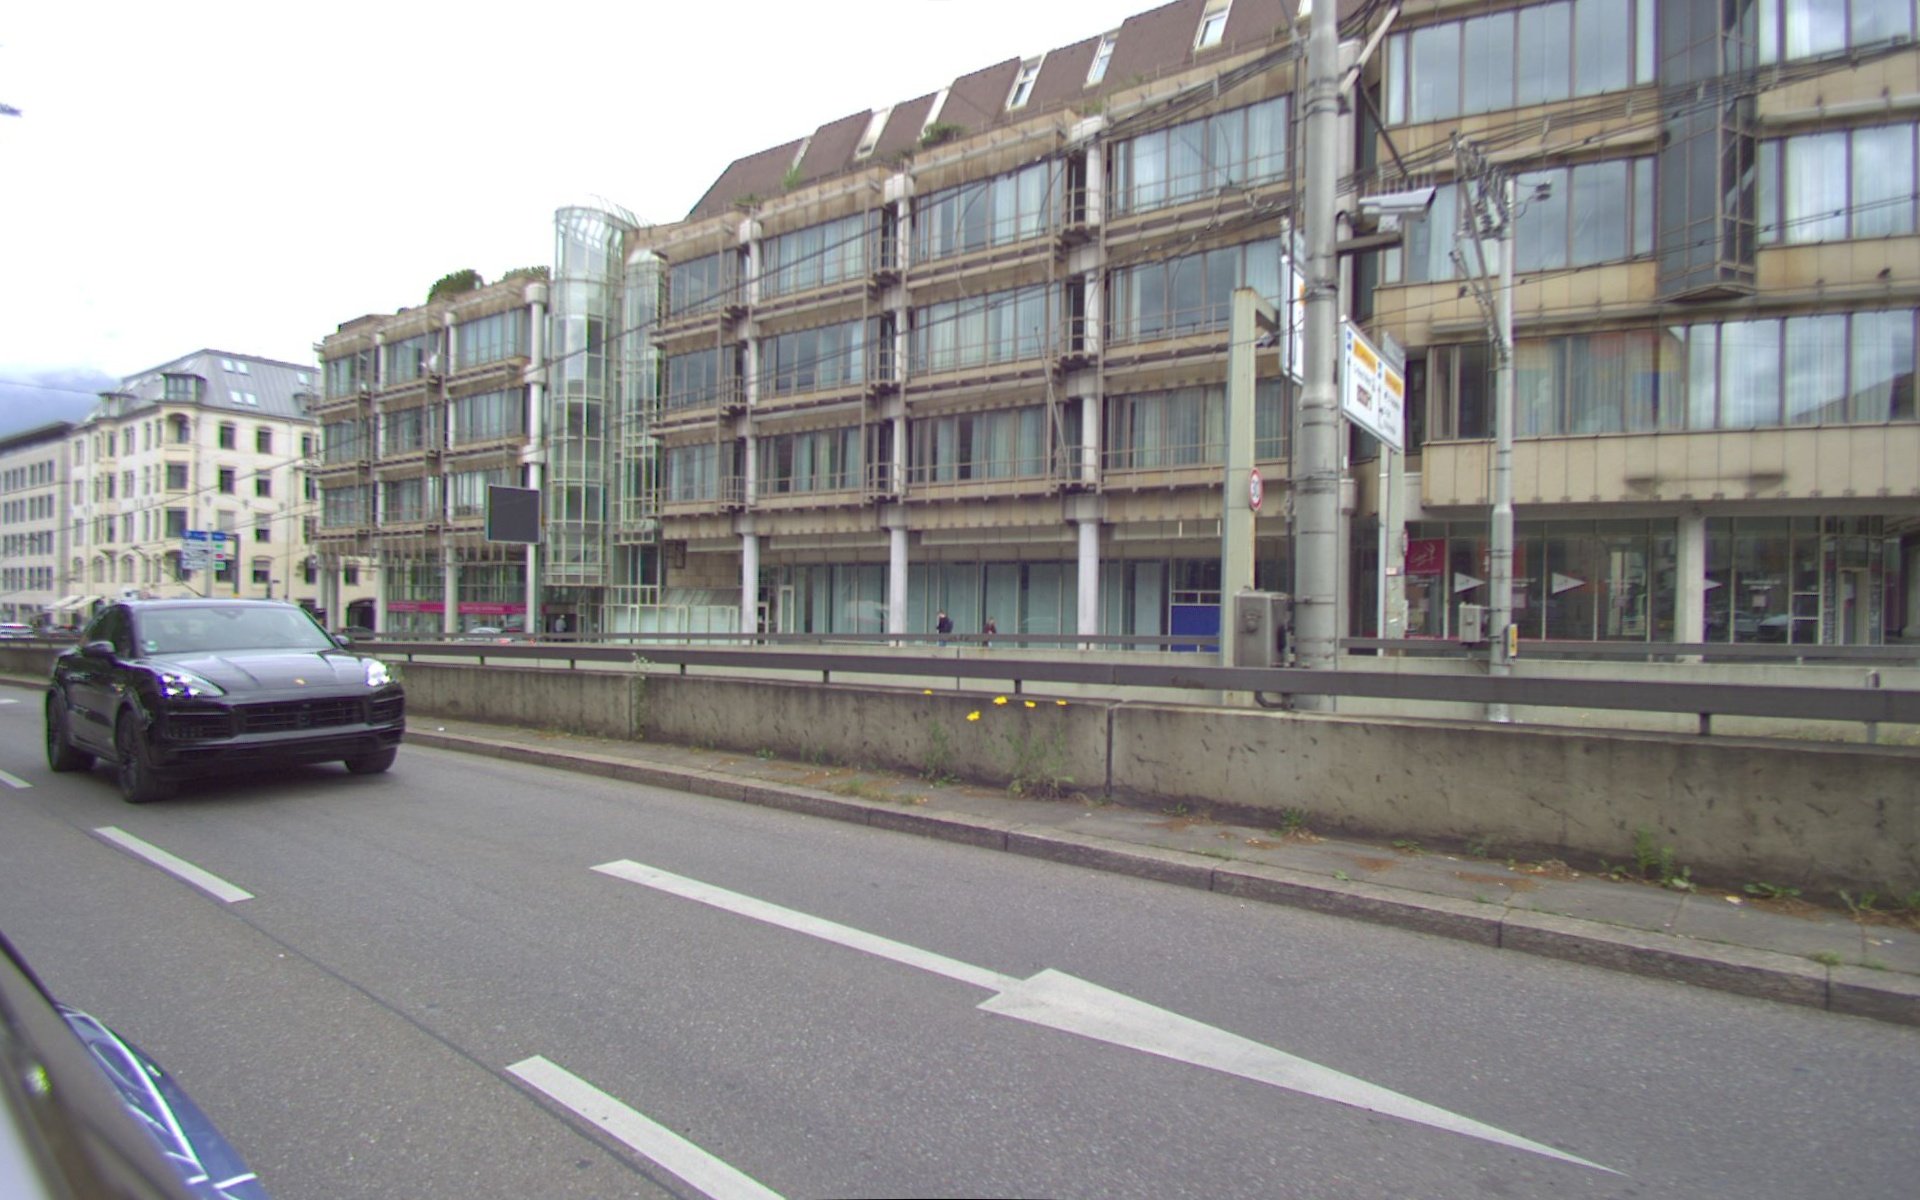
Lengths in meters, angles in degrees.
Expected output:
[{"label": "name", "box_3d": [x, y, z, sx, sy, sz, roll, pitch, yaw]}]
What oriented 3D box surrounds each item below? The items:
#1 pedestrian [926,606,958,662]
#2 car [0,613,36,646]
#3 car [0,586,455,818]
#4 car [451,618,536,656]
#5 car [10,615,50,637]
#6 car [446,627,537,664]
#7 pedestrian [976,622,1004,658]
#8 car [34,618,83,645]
[{"label": "pedestrian", "box_3d": [-0.607, 1.138, 34.219, 0.738, 1.825, 0.724, -1, 0, 36]}, {"label": "car", "box_3d": [-59.828, 1.838, 63.463, 4.596, 1.855, 1.818, -1, 3, 36]}, {"label": "car", "box_3d": [-7.281, 0.784, 9.755, 5.340, 1.687, 2.065, -1, 0, 36]}, {"label": "car", "box_3d": [-19.884, 1.556, 43.071, 4.037, 1.512, 1.648, -1, -2, 38]}, {"label": "car", "box_3d": [-87.888, 2.476, 95.645, 3.991, 2.029, 1.976, -2, -2, 36]}, {"label": "car", "box_3d": [-19.936, 1.906, 43.003, 4.406, 1.512, 1.648, -2, -2, 38]}, {"label": "pedestrian", "box_3d": [1.109, 1.473, 37.136, 0.738, 1.275, 0.724, -1, 0, 36]}, {"label": "car", "box_3d": [-70.091, 2.426, 78.657, 4.370, 1.929, 1.976, 0, 1, 36]}]
